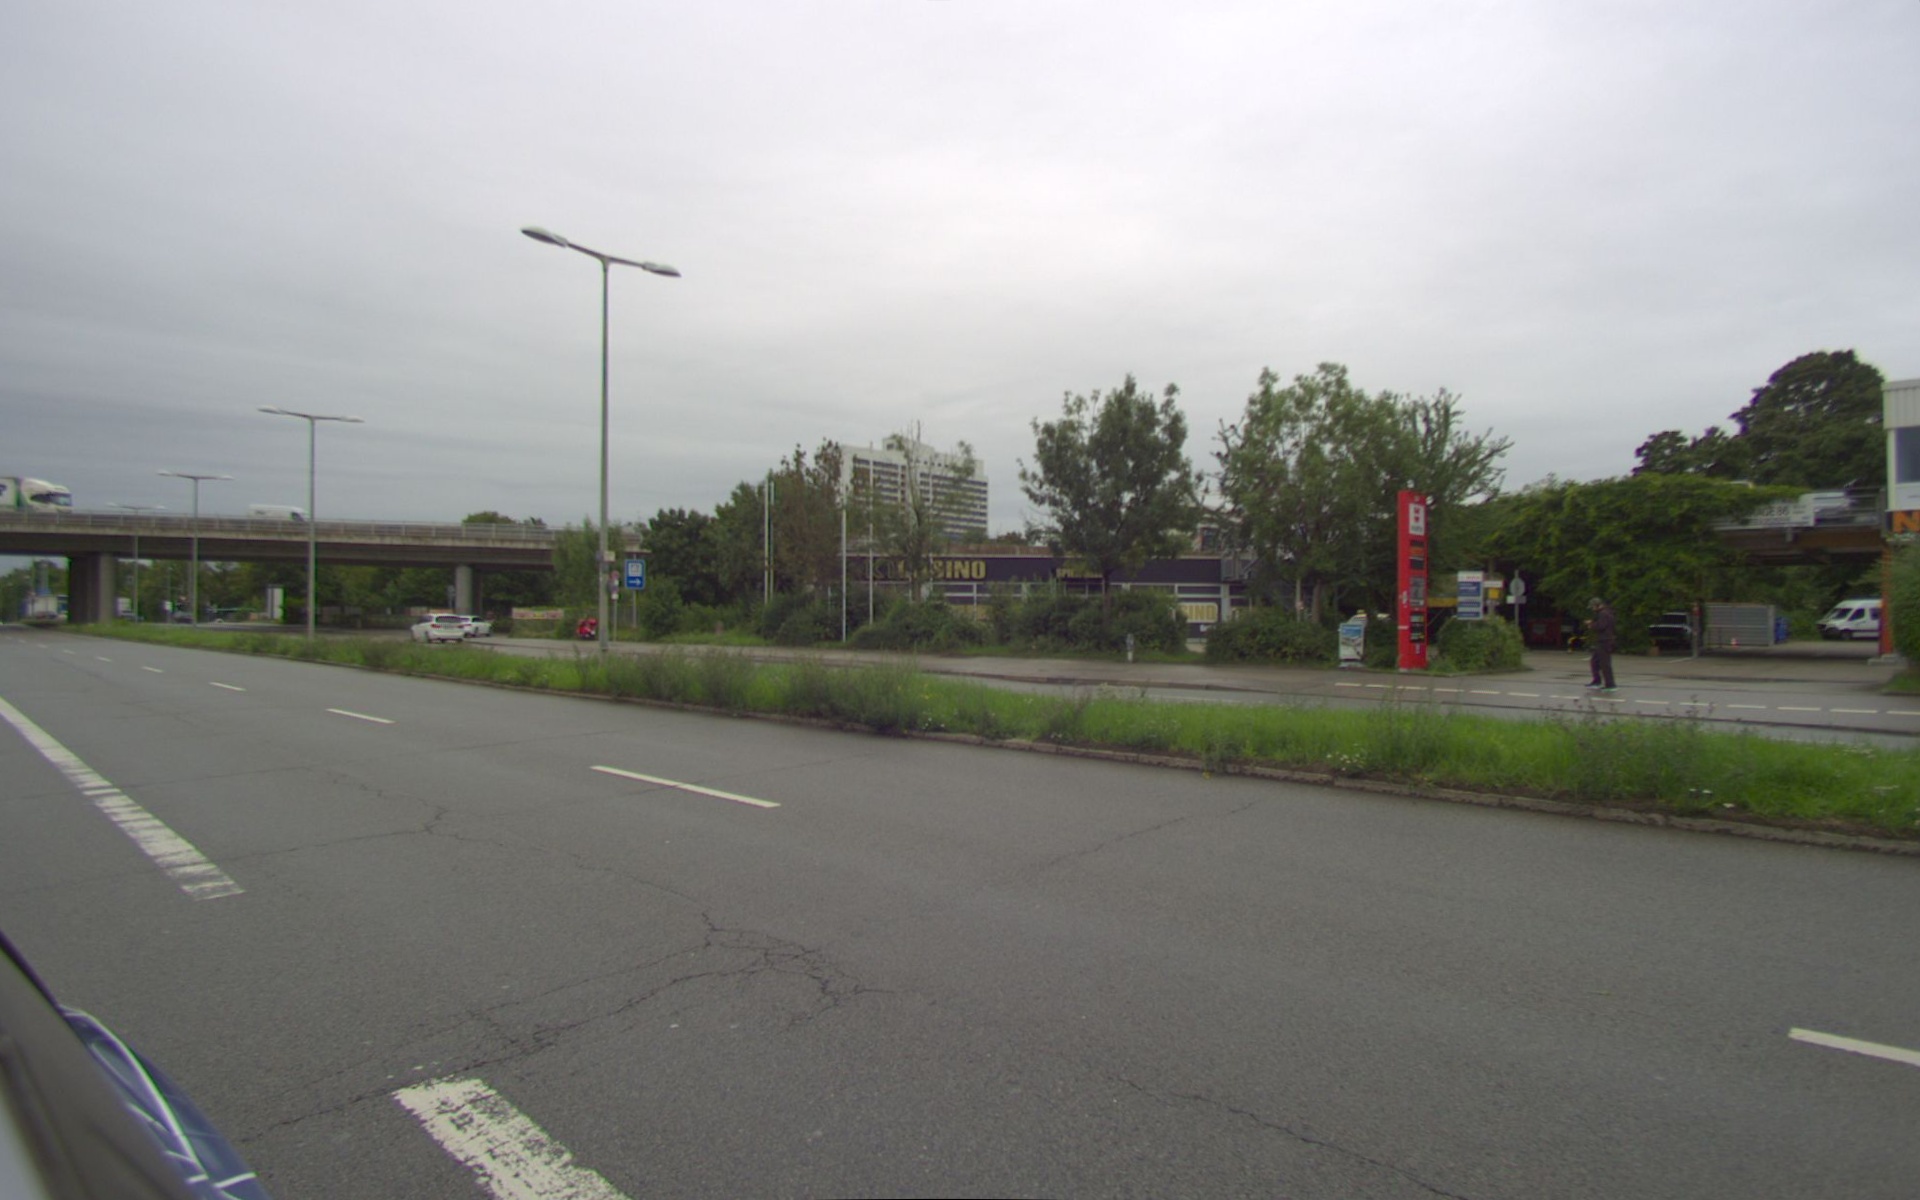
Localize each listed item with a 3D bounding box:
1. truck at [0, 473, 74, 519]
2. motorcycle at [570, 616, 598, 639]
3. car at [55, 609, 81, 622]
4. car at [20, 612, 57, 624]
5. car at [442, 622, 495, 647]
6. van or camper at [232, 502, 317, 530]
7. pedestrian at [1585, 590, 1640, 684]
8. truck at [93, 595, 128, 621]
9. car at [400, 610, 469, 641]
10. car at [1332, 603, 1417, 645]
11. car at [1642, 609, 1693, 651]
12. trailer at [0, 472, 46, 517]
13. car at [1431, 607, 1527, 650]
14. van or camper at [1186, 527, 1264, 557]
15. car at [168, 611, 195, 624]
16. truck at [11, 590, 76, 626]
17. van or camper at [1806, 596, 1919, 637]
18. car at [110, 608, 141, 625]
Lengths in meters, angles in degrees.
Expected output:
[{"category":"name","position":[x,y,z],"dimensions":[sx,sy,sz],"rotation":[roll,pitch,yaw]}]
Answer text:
[{"category":"truck","position":[-75.791,-8.460,82.203],"dimensions":[5.112,3.270,2.602],"rotation":[2,0,-8]},{"category":"motorcycle","position":[-20.395,1.491,54.880],"dimensions":[2.196,1.185,0.527],"rotation":[0,-1,44]},{"category":"car","position":[-115.119,1.989,130.565],"dimensions":[4.590,1.595,1.948],"rotation":[1,-3,42]},{"category":"car","position":[-124.213,2.460,136.385],"dimensions":[4.562,1.595,1.960],"rotation":[-1,-2,24]},{"category":"car","position":[-33.907,2.335,69.980],"dimensions":[1.967,1.584,5.130],"rotation":[1,-1,-11]},{"category":"van or camper","position":[-57.458,-7.022,84.944],"dimensions":[5.421,2.029,2.335],"rotation":[1,0,-7]},{"category":"pedestrian","position":[13.110,0.736,20.339],"dimensions":[0.817,1.844,0.615],"rotation":[-1,-2,45]},{"category":"truck","position":[-101.913,1.001,121.378],"dimensions":[7.234,3.000,2.228],"rotation":[-1,-4,44]},{"category":"car","position":[-28.647,1.381,55.098],"dimensions":[4.576,1.584,1.971],"rotation":[0,-1,45]},{"category":"car","position":[16.833,0.946,40.989],"dimensions":[1.909,1.577,3.943],"rotation":[1,1,43]},{"category":"car","position":[32.337,1.374,46.220],"dimensions":[1.722,1.718,3.625],"rotation":[3,-1,36]},{"category":"trailer","position":[-82.258,-8.789,81.400],"dimensions":[13.839,3.323,2.671],"rotation":[2,0,-7]},{"category":"car","position":[19.635,1.033,38.233],"dimensions":[3.937,1.479,1.866],"rotation":[0,1,-40]},{"category":"van or camper","position":[23.006,-5.037,88.135],"dimensions":[5.952,2.262,2.647],"rotation":[2,0,-4]},{"category":"car","position":[-92.130,2.080,119.801],"dimensions":[1.946,1.407,4.820],"rotation":[3,-1,-44]},{"category":"truck","position":[-129.040,1.110,142.442],"dimensions":[9.539,4.626,2.778],"rotation":[2,-2,23]},{"category":"van or camper","position":[57.559,1.067,64.127],"dimensions":[6.039,2.475,1.998],"rotation":[1,-1,3]},{"category":"car","position":[-91.845,1.810,111.332],"dimensions":[4.590,1.595,1.948],"rotation":[1,-3,42]}]
